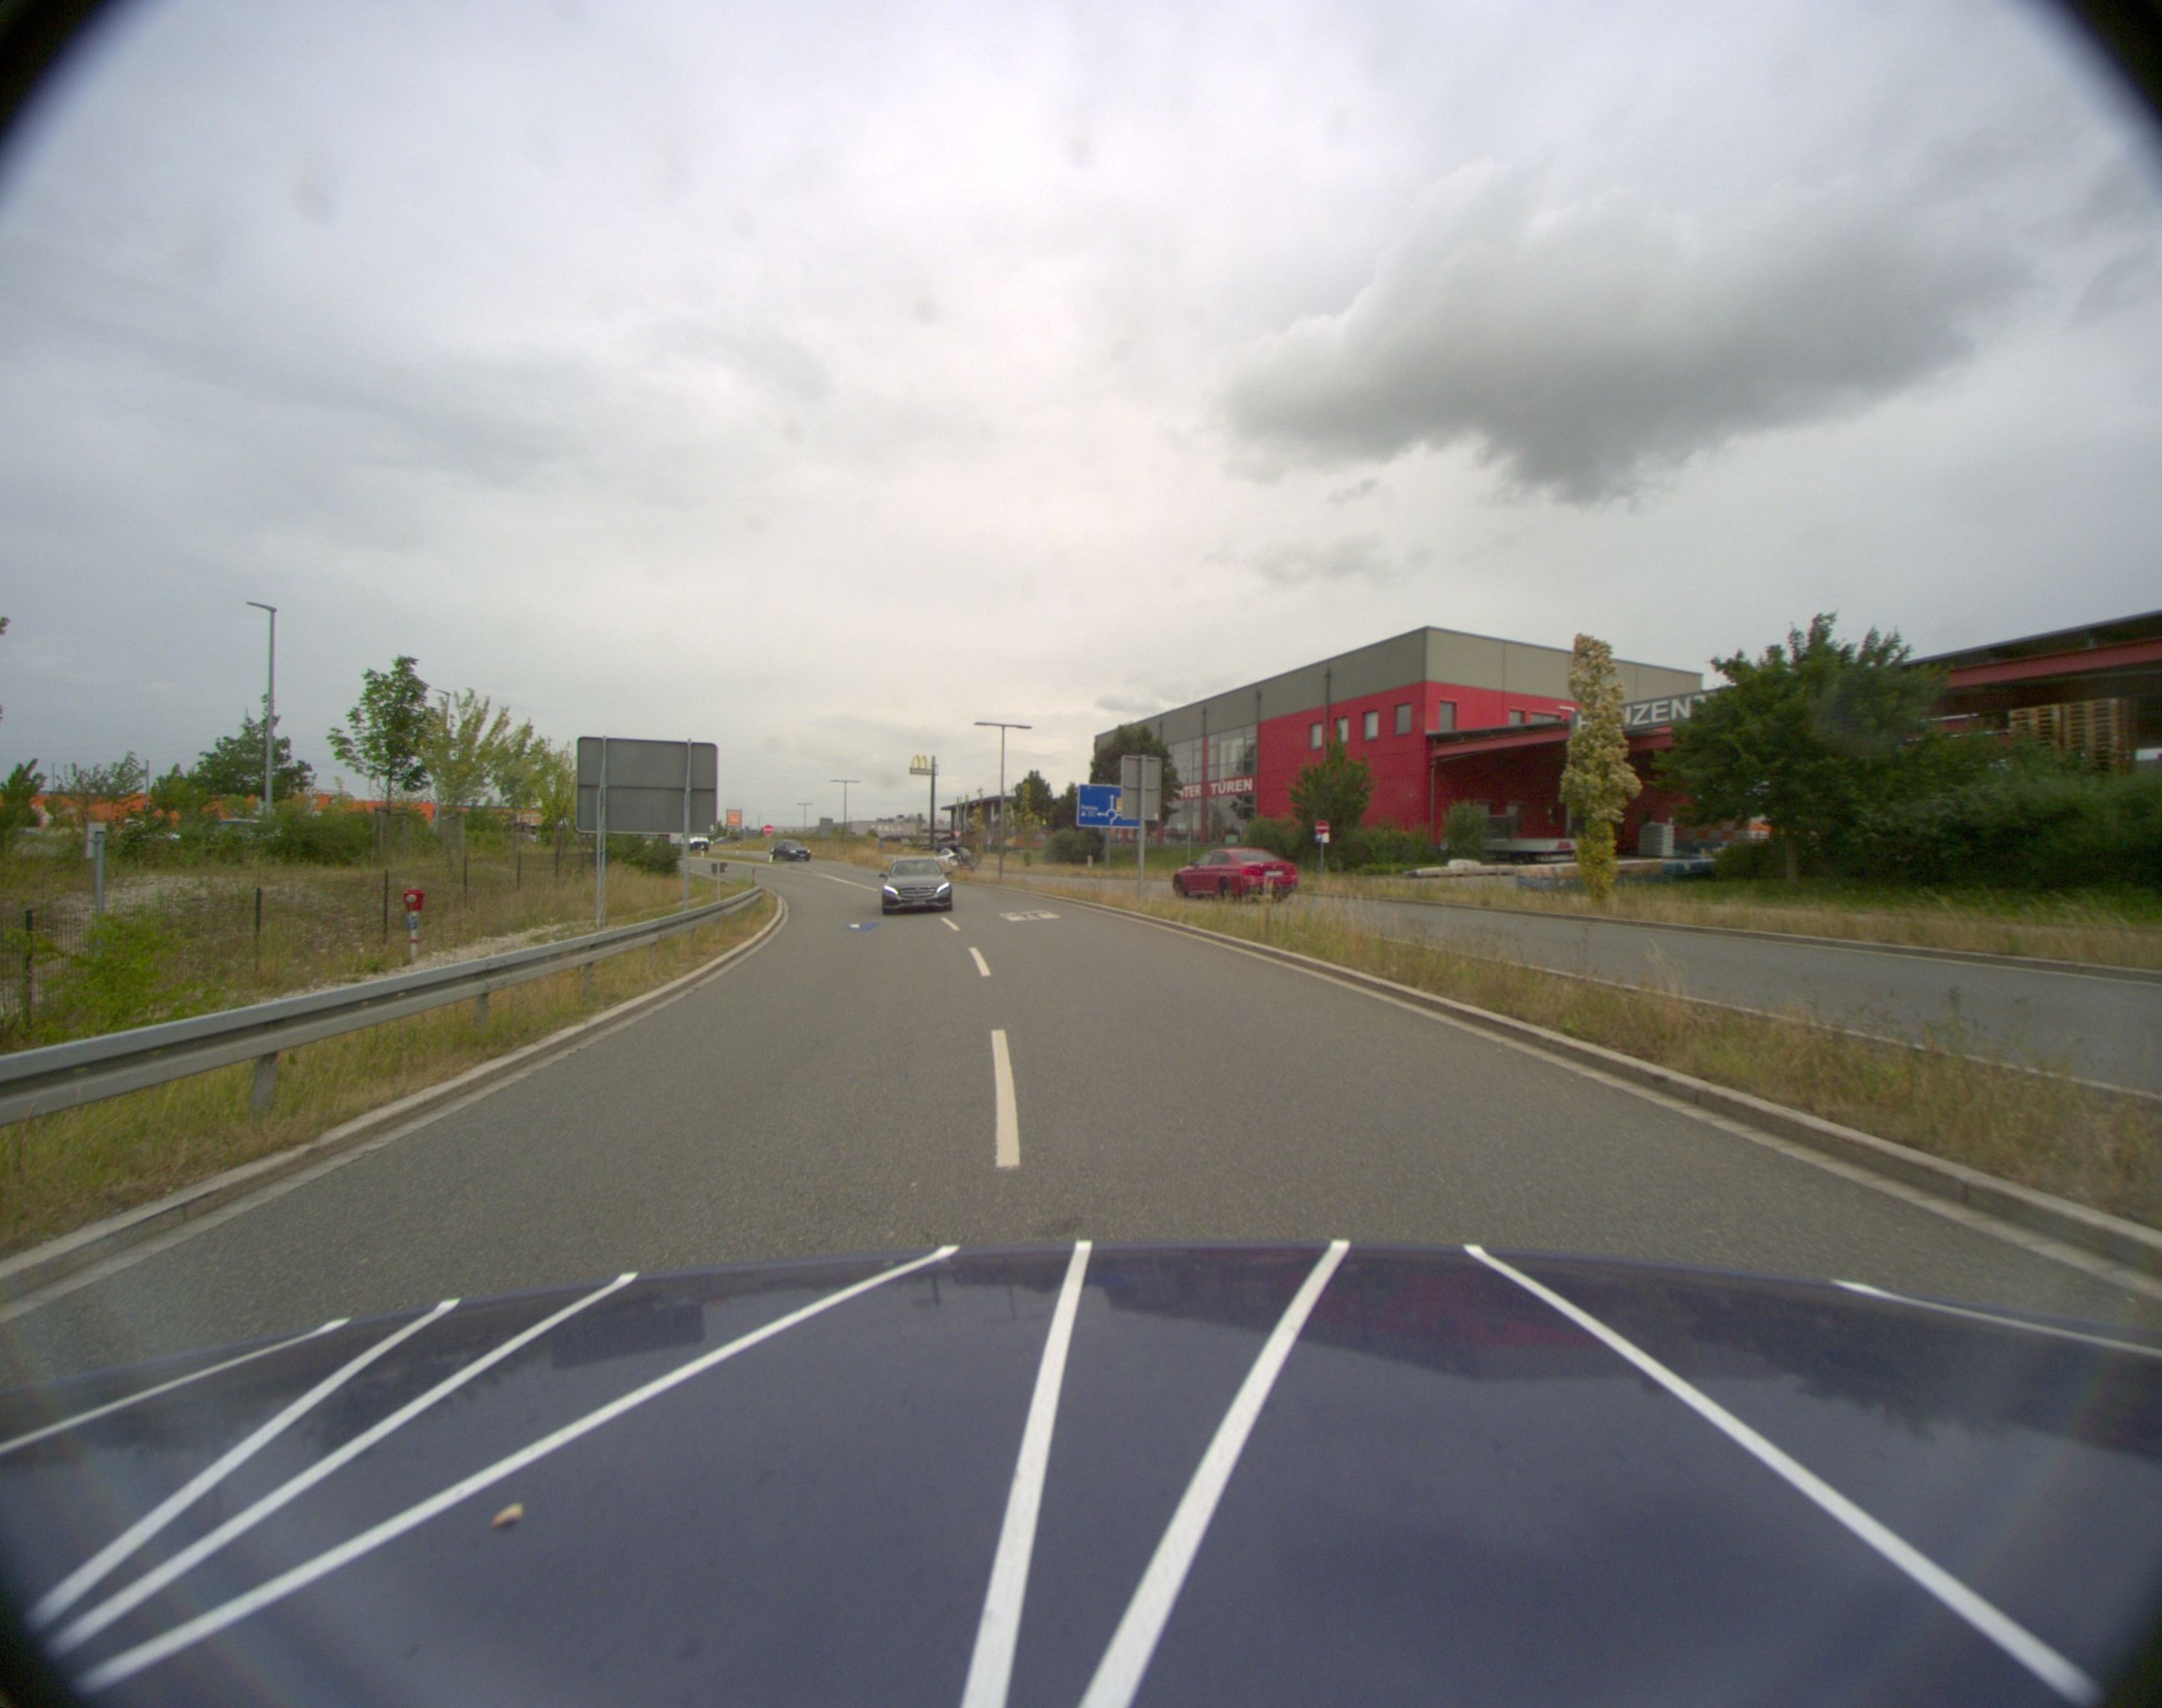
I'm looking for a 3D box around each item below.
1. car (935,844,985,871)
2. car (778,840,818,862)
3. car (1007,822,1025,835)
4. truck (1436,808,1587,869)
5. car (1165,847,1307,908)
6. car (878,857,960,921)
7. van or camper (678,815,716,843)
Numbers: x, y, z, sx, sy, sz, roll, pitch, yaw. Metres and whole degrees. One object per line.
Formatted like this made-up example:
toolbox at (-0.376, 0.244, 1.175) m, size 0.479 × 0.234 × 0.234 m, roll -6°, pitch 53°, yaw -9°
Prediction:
car at (-8.009, 0.236, 49.765) m, size 1.917 × 1.617 × 4.627 m, roll -4°, pitch 1°, yaw -25°
car at (-23.547, -0.270, 63.121) m, size 1.847 × 1.710 × 3.989 m, roll -4°, pitch 2°, yaw -39°
car at (-8.637, -3.415, 100.943) m, size 1.895 × 1.650 × 4.018 m, roll 1°, pitch 2°, yaw 2°
truck at (19.046, -0.682, 34.028) m, size 2.042 × 2.473 × 5.895 m, roll -1°, pitch 1°, yaw -23°
car at (4.283, 0.583, 21.908) m, size 1.798 × 1.439 × 4.964 m, roll -3°, pitch 1°, yaw -17°
car at (-4.652, 0.874, 21.316) m, size 1.908 × 1.488 × 4.333 m, roll -3°, pitch 1°, yaw -16°
van or camper at (-38.129, -2.457, 75.399) m, size 2.339 × 2.635 × 6.027 m, roll -2°, pitch 2°, yaw -36°
